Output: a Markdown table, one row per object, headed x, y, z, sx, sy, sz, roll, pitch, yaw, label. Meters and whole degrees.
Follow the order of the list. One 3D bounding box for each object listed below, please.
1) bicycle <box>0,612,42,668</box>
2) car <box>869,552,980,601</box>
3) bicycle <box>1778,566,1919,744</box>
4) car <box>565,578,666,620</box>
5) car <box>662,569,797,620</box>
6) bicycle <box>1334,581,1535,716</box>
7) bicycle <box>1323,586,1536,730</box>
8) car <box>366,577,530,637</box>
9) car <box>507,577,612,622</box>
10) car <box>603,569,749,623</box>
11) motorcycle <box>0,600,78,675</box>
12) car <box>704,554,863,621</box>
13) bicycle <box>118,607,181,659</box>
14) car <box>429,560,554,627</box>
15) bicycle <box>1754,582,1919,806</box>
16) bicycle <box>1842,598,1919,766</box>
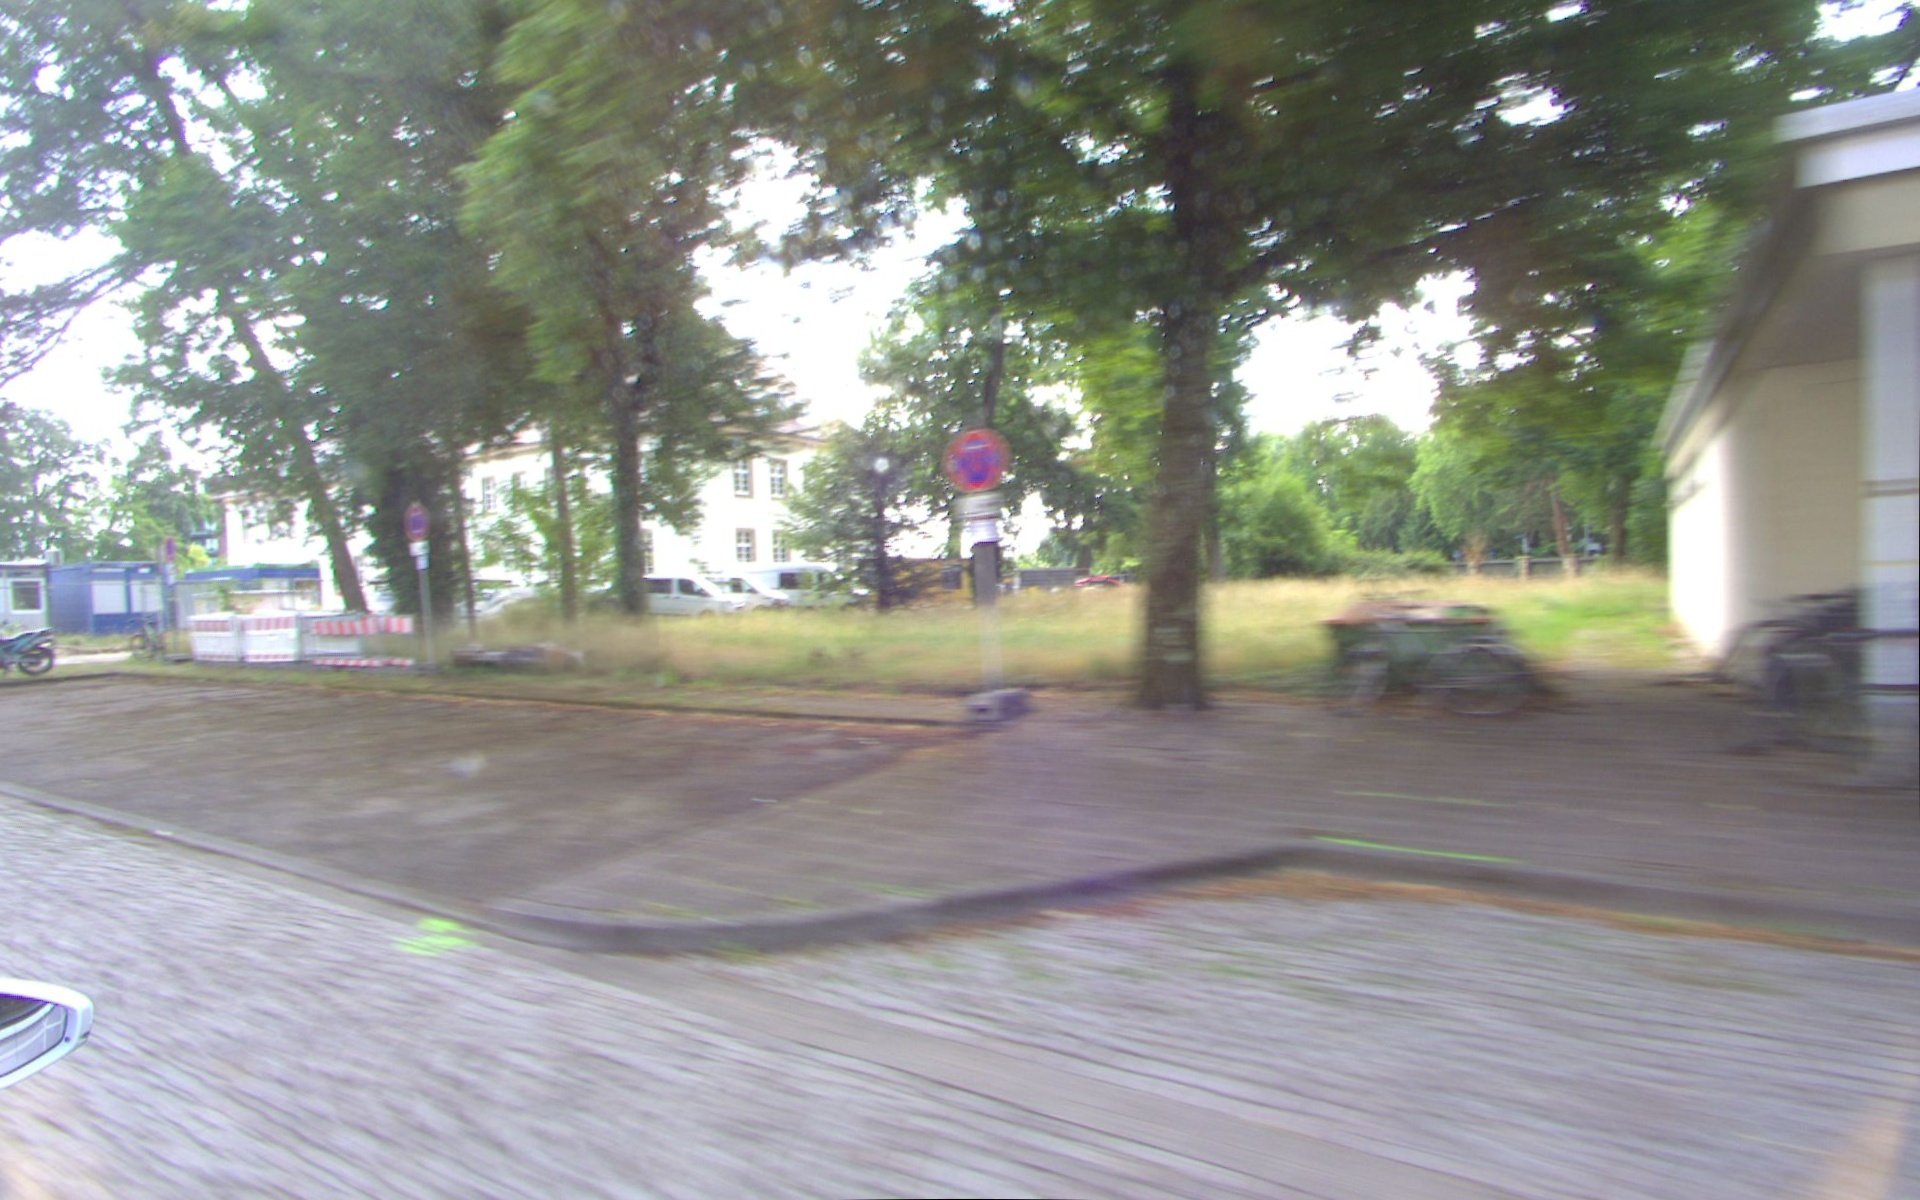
| x | y | z | sx | sy | sz | roll | pitch | yaw | label |
| --- | --- | --- | --- | --- | --- | --- | --- | --- | --- |
| -21.909 | 0.921 | 22.427 | 1.882 | 1.214 | 0.650 | -3 | 2 | -39 | bicycle |
| -1.571 | -1.062 | 47.910 | 2.181 | 2.123 | 6.127 | -1 | 0 | 33 | car |
| 6.898 | 0.361 | 7.693 | 0.599 | 1.181 | 1.738 | -1 | 3 | 28 | bicycle |
| -16.196 | -0.008 | 47.035 | 4.808 | 1.849 | 1.988 | -1 | 0 | 34 | car |
| -9.046 | -0.194 | 39.556 | 4.780 | 1.849 | 2.000 | -1 | 0 | 5 | car |
| 4.347 | 0.417 | 9.200 | 1.611 | 1.132 | 0.595 | -1 | 3 | 31 | bicycle |
| 4.043 | 0.471 | 8.654 | 1.611 | 1.132 | 0.595 | -1 | 3 | 31 | bicycle |
| -18.015 | 0.182 | 35.484 | 1.879 | 1.947 | 4.845 | 1 | 2 | 33 | car |
| -17.799 | -0.001 | 44.406 | 4.808 | 1.849 | 1.988 | -1 | 0 | 34 | car |
| -10.455 | -0.146 | 37.110 | 4.780 | 1.849 | 2.000 | -1 | 0 | 5 | car |
| -19.998 | 0.788 | 20.849 | 0.745 | 1.505 | 2.274 | -1 | 2 | 27 | motorcycle |
| -7.393 | -0.511 | 42.289 | 6.297 | 2.612 | 2.000 | -1 | 0 | 3 | car |
| -19.635 | 0.787 | 24.247 | 1.879 | 1.185 | 0.640 | -1 | 2 | 35 | bicycle |
| -19.446 | -0.208 | 41.417 | 5.830 | 2.589 | 1.988 | -1 | 0 | 35 | car |
| 5.381 | 0.488 | 6.064 | 0.332 | 1.124 | 1.677 | -1 | 3 | 19 | bicycle |
| 6.246 | 0.523 | 5.817 | 0.744 | 0.990 | 1.745 | -2 | 2 | 2 | bicycle |
